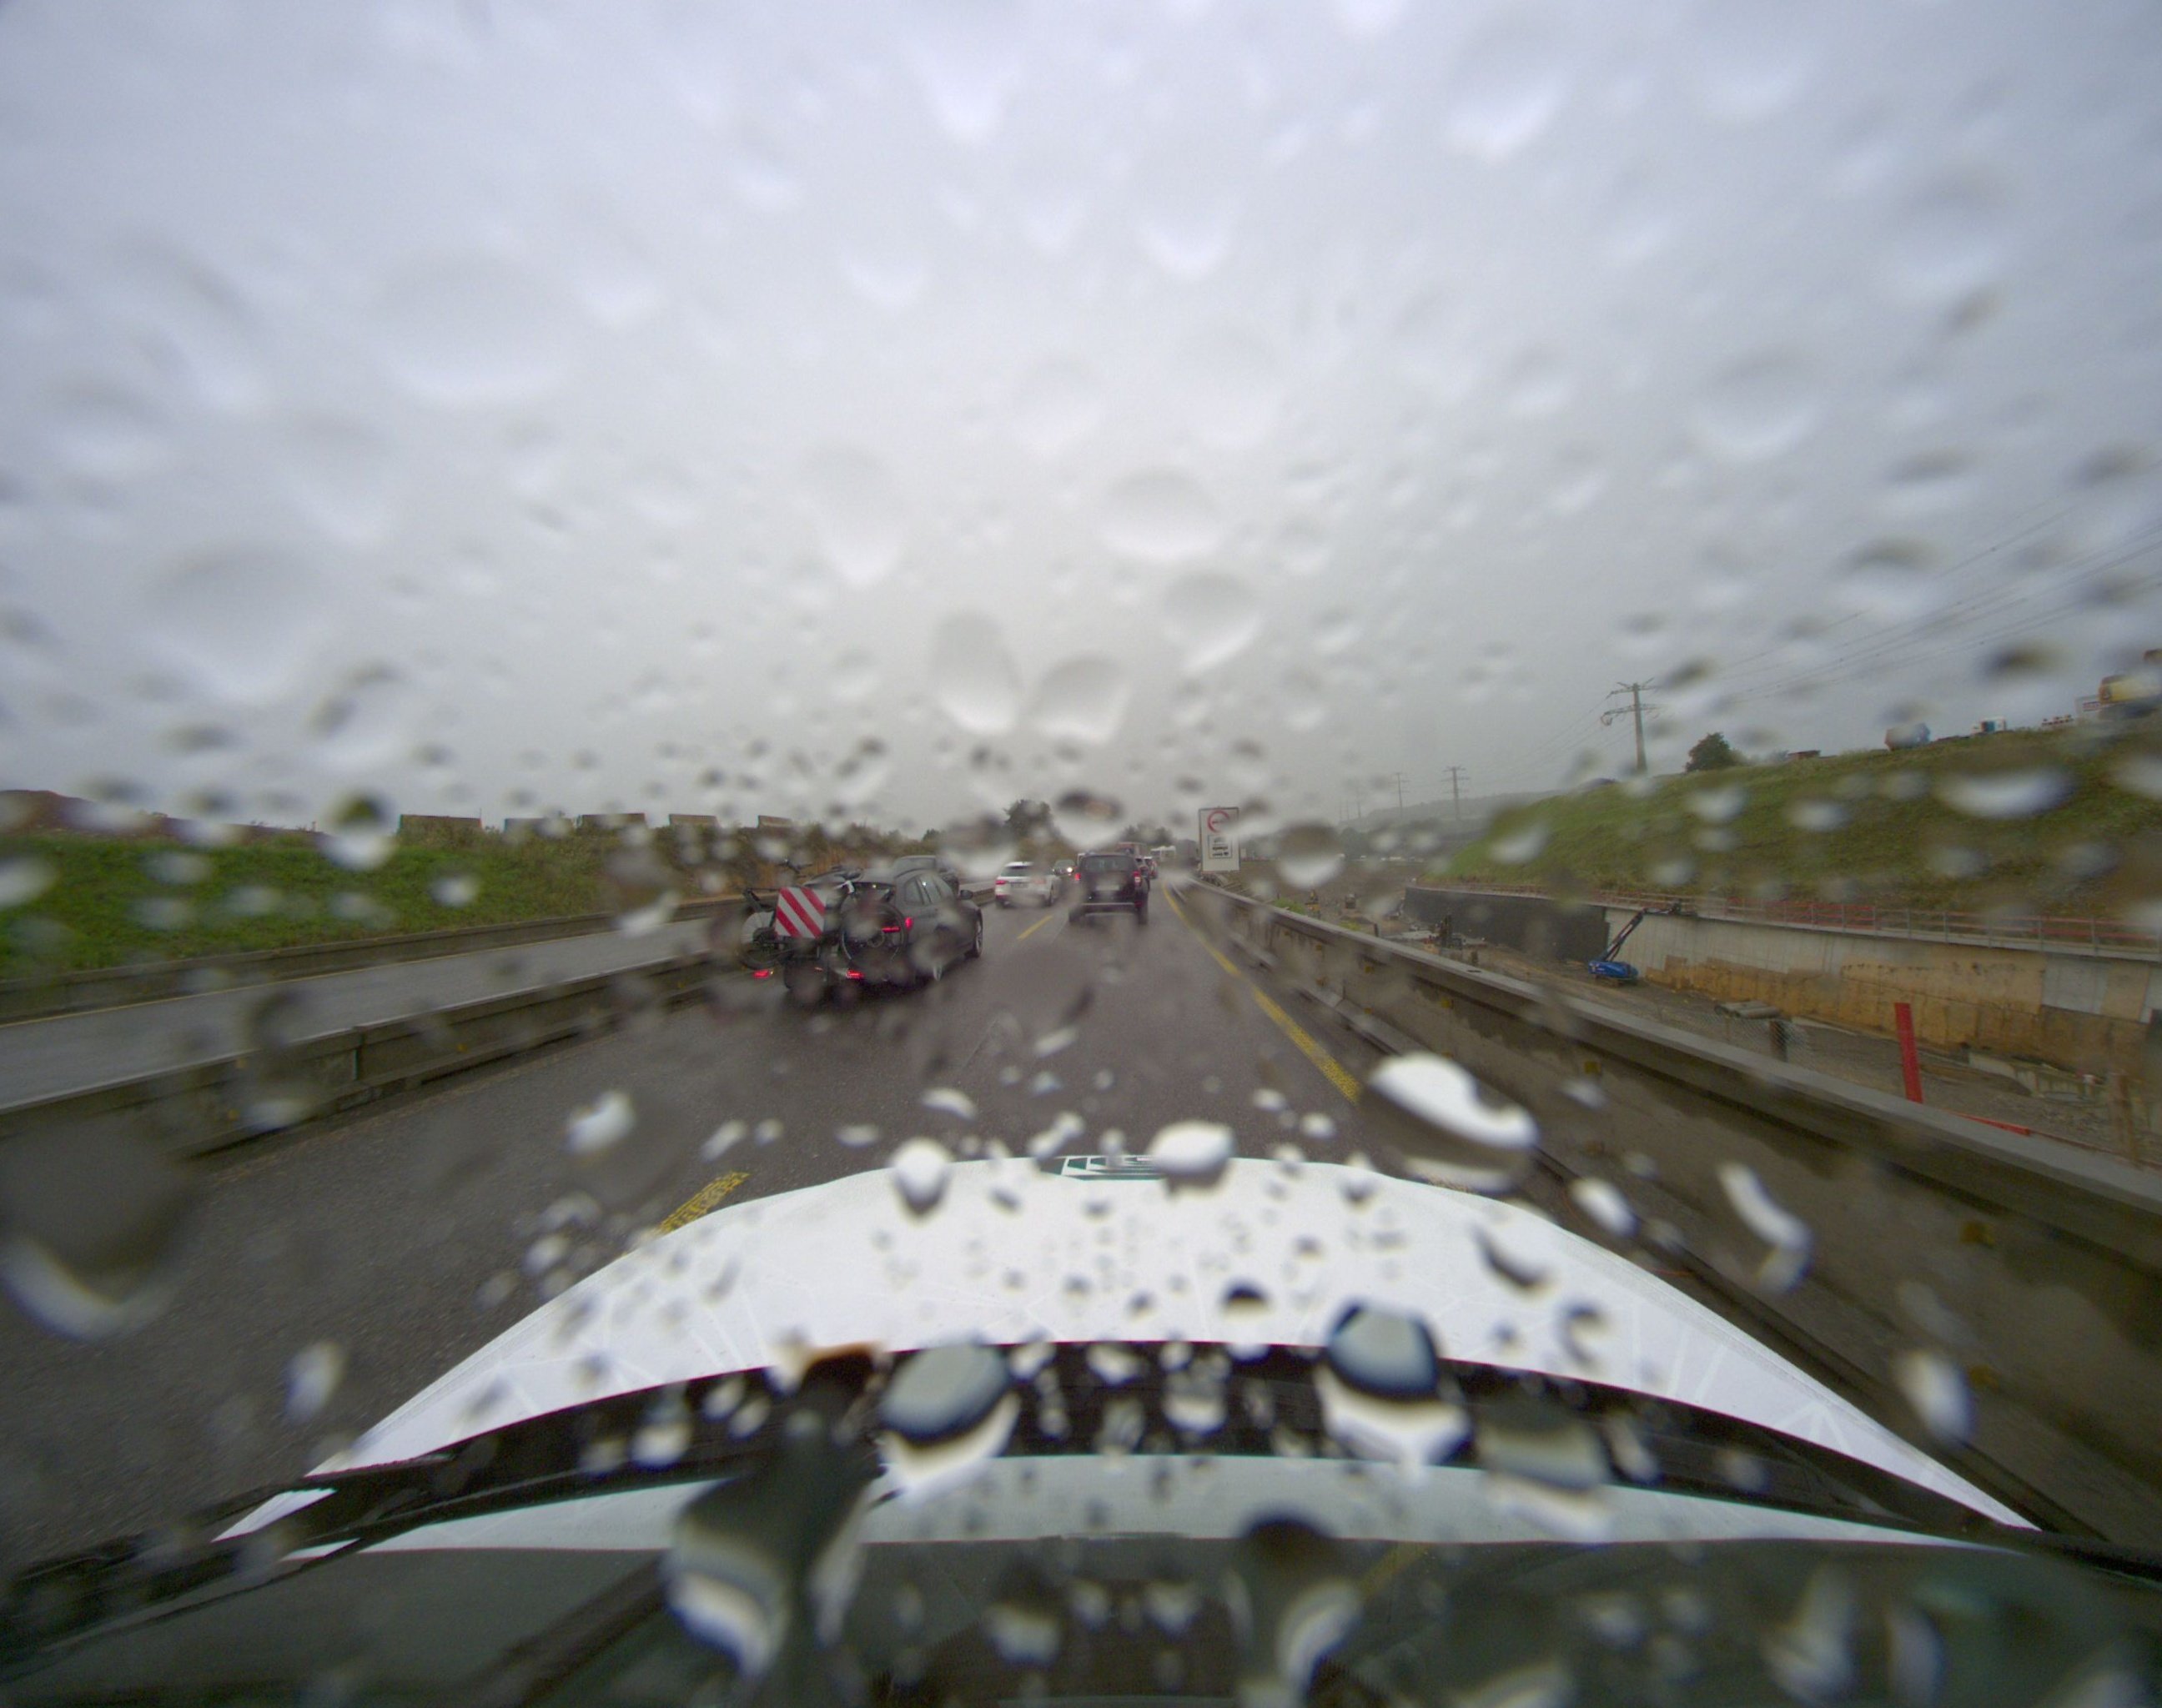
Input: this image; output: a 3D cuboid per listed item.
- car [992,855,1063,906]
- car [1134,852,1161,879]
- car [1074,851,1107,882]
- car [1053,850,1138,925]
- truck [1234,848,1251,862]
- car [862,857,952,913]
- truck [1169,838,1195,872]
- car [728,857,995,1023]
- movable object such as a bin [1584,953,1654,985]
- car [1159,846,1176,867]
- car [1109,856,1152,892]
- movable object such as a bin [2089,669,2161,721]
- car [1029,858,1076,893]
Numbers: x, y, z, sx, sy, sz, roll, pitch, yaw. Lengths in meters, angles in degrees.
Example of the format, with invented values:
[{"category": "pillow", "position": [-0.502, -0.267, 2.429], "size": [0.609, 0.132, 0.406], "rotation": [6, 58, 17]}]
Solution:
[{"category": "car", "position": [-1.664, 0.837, 26.549], "size": [1.819, 1.499, 4.003], "rotation": [-1, -1, 3]}, {"category": "car", "position": [4.737, 0.816, 57.684], "size": [1.818, 1.815, 4.005], "rotation": [-1, -1, 5]}, {"category": "car", "position": [0.606, 0.753, 49.602], "size": [1.818, 1.815, 4.003], "rotation": [-1, -1, 3]}, {"category": "car", "position": [0.422, 0.760, 19.661], "size": [1.819, 1.591, 4.003], "rotation": [-1, -1, 3]}, {"category": "truck", "position": [47.054, 0.186, 237.082], "size": [3.442, 3.715, 8.462], "rotation": [-2, 0, 21]}, {"category": "car", "position": [-5.658, 0.963, 27.057], "size": [1.815, 1.639, 4.488], "rotation": [-1, 0, 3]}, {"category": "truck", "position": [15.732, 0.224, 126.000], "size": [3.523, 5.077, 10.467], "rotation": [-1, -1, 9]}, {"category": "car", "position": [-2.472, 0.865, 10.873], "size": [1.727, 1.462, 5.634], "rotation": [-1, 1, 3]}, {"category": "movable object such as a bin", "position": [39.388, 8.390, 59.666], "size": [2.008, 2.014, 3.799], "rotation": [3, -4, -35]}, {"category": "car", "position": [10.523, 0.330, 98.662], "size": [1.815, 2.437, 4.168], "rotation": [-1, -1, 9]}, {"category": "car", "position": [2.214, 0.871, 36.744], "size": [1.819, 1.499, 4.003], "rotation": [-1, -1, 3]}, {"category": "movable object such as a bin", "position": [63.478, -9.464, 48.430], "size": [2.415, 2.443, 3.979], "rotation": [-1, 1, 9]}, {"category": "car", "position": [-1.253, 0.964, 37.371], "size": [1.819, 1.499, 4.003], "rotation": [-1, -1, 3]}]
